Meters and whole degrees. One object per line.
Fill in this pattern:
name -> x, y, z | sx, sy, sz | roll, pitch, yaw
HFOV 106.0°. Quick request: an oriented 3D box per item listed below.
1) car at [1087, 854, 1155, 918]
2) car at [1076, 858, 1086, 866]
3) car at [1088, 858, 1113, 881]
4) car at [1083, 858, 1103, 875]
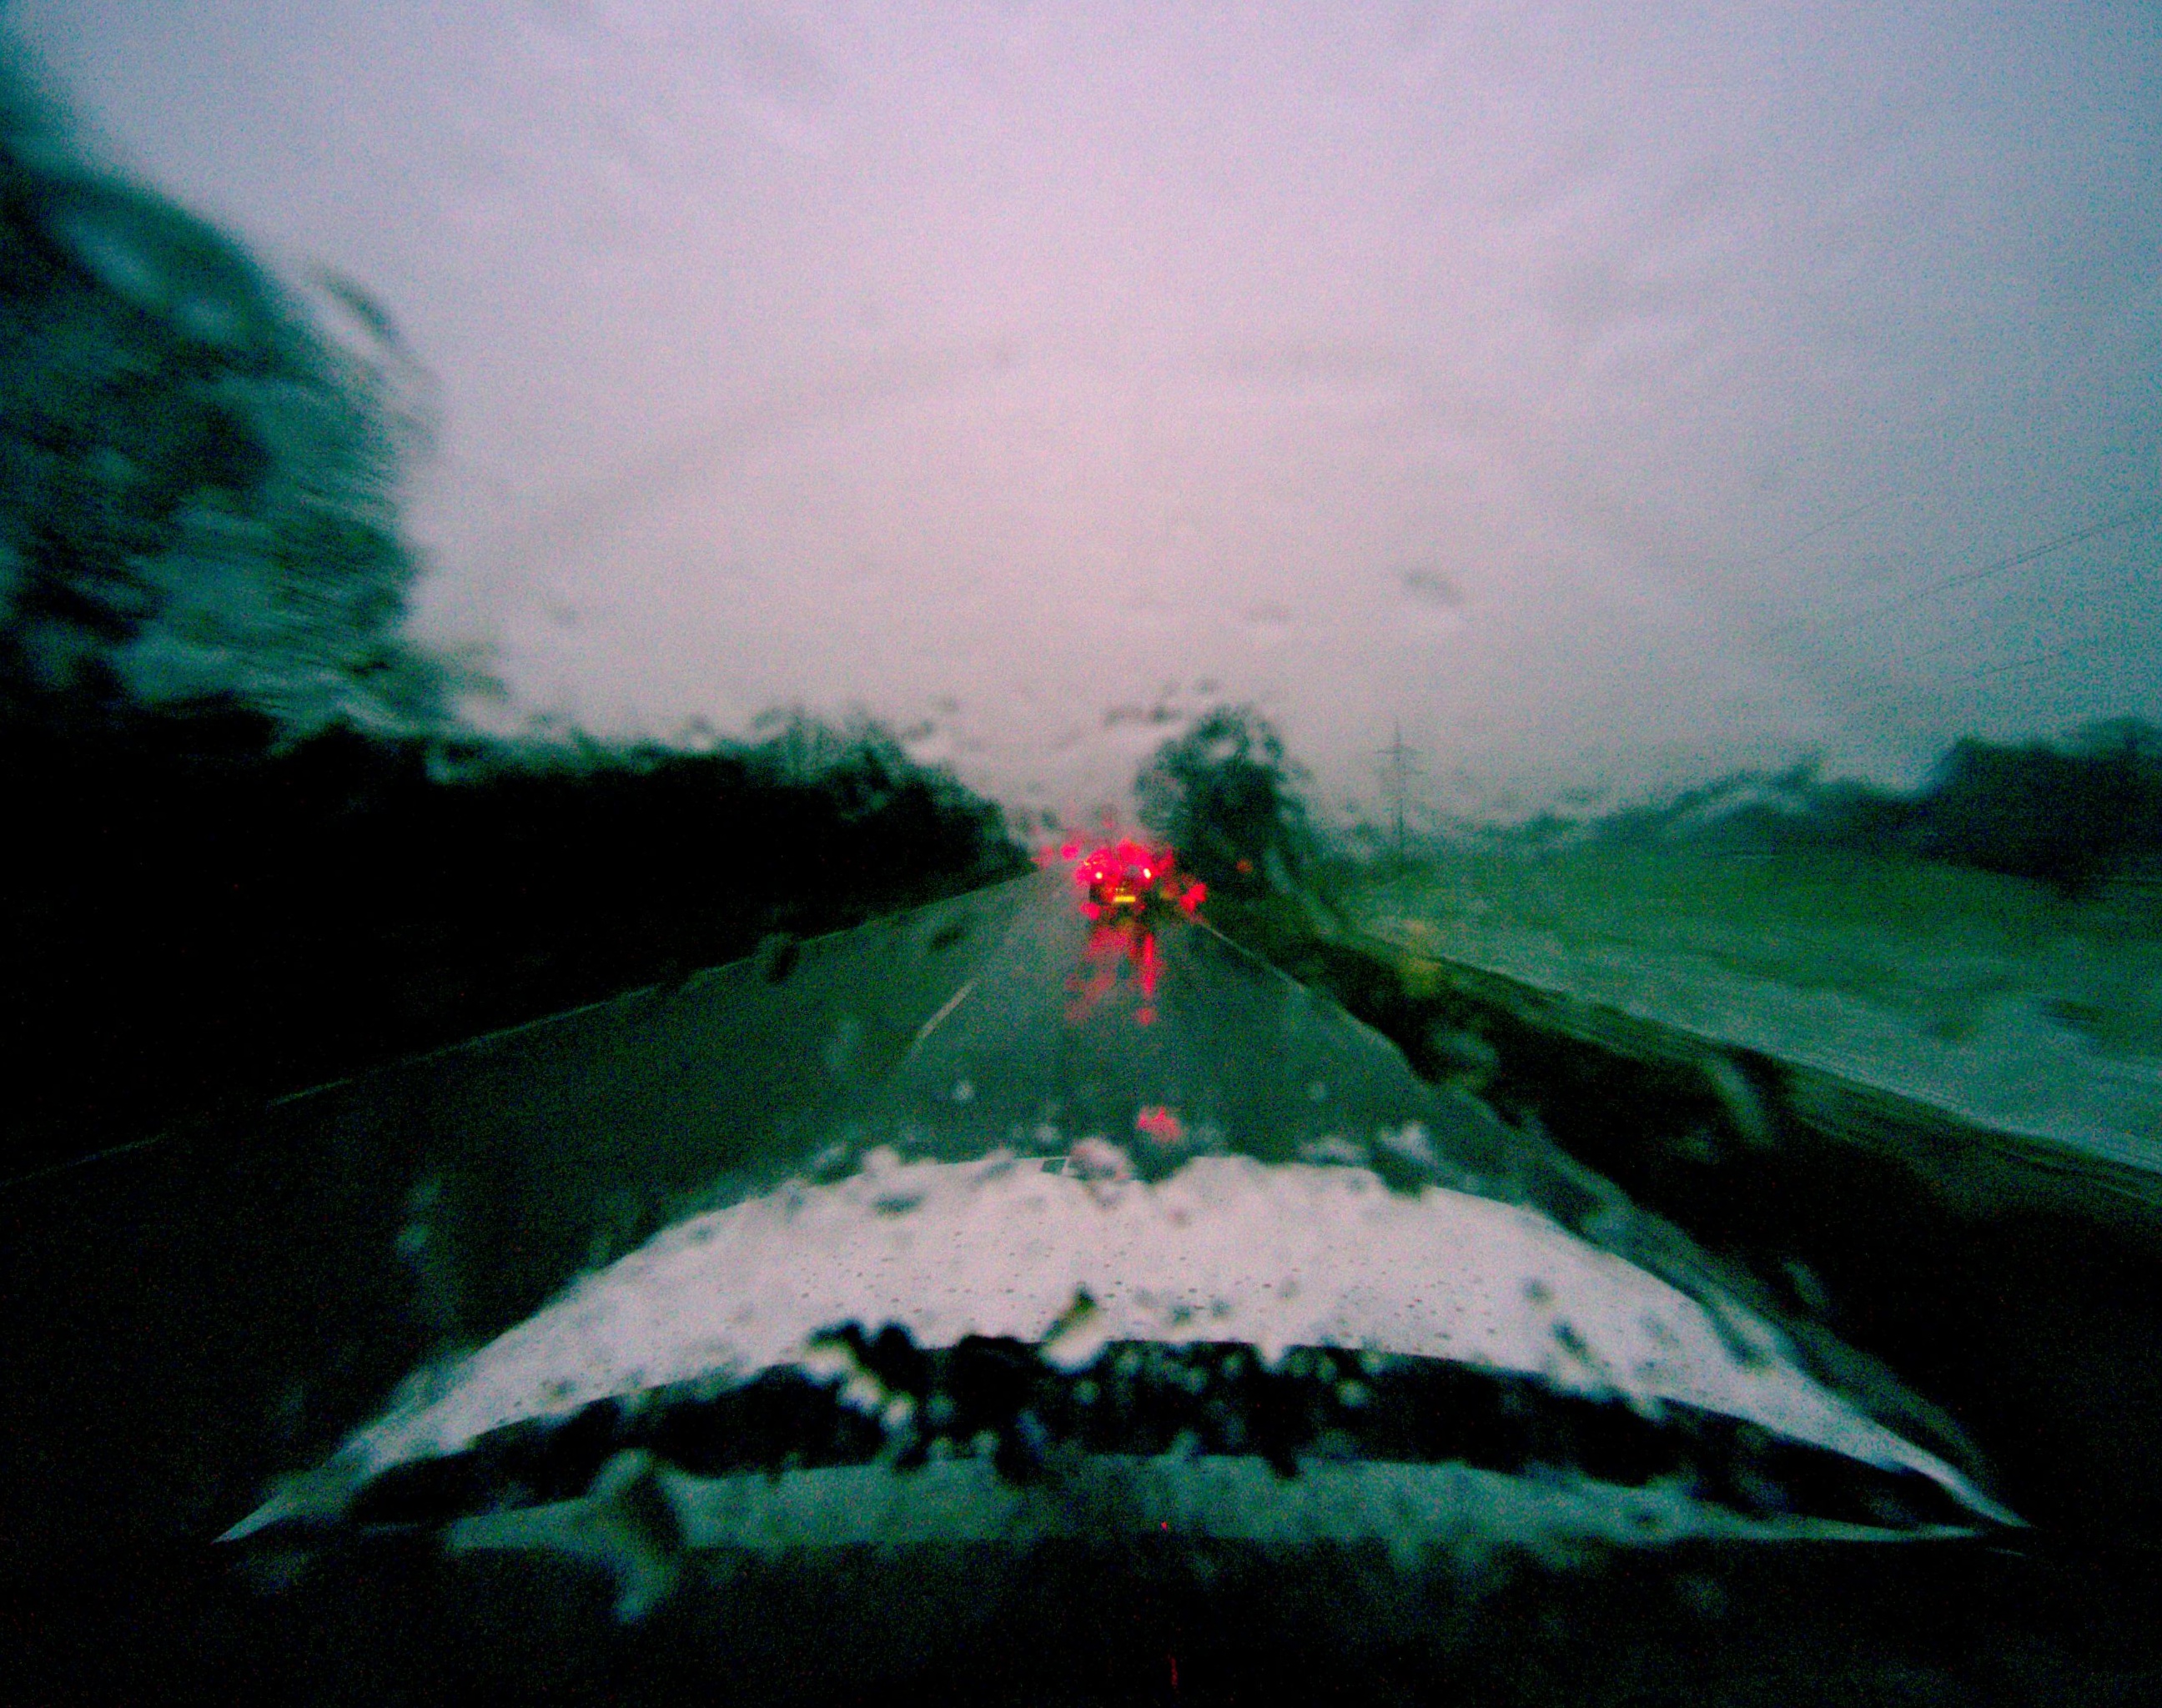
car -> 1.090, 0.770, 21.234 | 1.595, 1.522, 3.874 | 0, 0, 4
car -> -0.020, 1.364, 140.566 | 1.541, 1.397, 3.872 | 0, 0, 2
car -> 1.299, 0.981, 52.725 | 1.541, 1.397, 3.871 | 0, 0, 2
car -> 1.064, 1.072, 71.850 | 1.540, 1.397, 3.873 | 0, 0, 4
